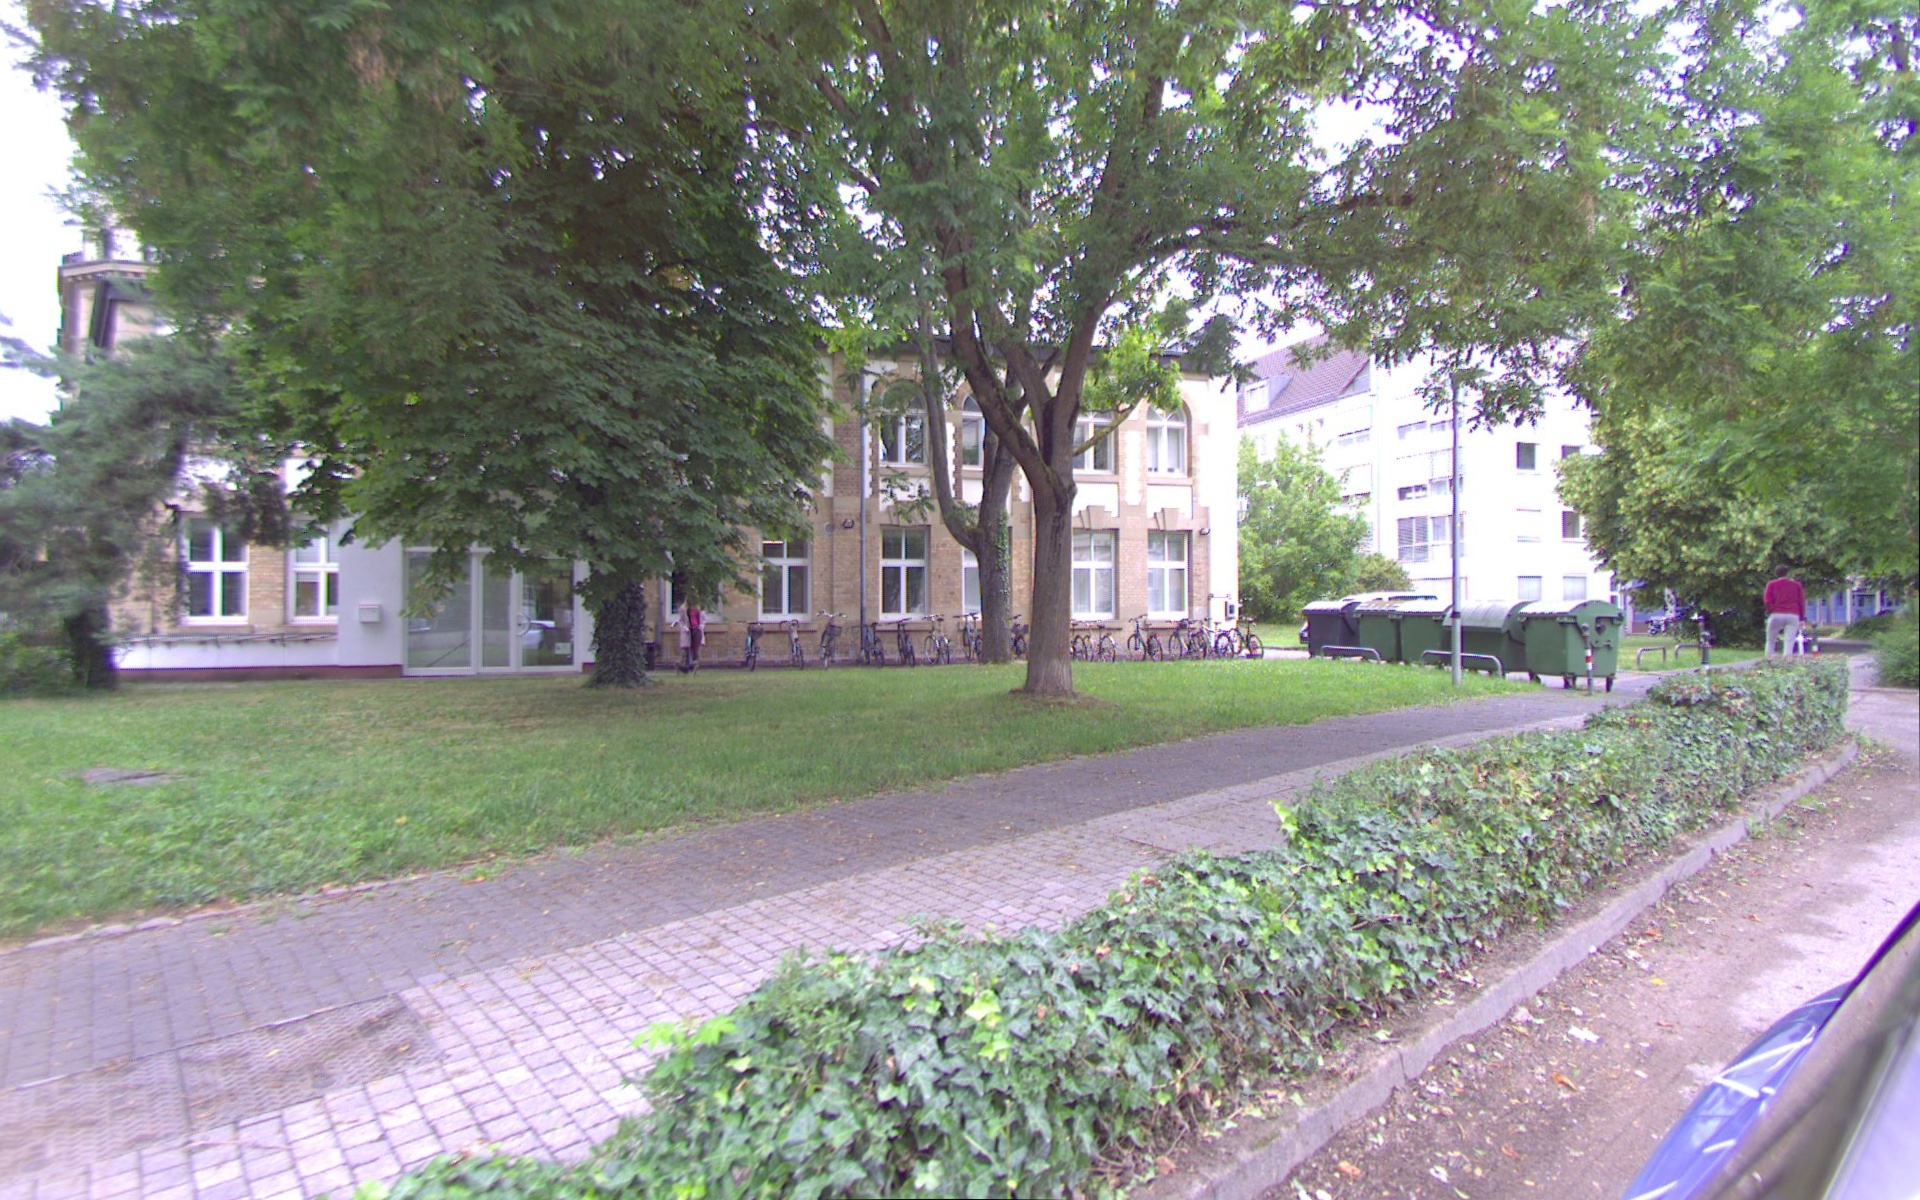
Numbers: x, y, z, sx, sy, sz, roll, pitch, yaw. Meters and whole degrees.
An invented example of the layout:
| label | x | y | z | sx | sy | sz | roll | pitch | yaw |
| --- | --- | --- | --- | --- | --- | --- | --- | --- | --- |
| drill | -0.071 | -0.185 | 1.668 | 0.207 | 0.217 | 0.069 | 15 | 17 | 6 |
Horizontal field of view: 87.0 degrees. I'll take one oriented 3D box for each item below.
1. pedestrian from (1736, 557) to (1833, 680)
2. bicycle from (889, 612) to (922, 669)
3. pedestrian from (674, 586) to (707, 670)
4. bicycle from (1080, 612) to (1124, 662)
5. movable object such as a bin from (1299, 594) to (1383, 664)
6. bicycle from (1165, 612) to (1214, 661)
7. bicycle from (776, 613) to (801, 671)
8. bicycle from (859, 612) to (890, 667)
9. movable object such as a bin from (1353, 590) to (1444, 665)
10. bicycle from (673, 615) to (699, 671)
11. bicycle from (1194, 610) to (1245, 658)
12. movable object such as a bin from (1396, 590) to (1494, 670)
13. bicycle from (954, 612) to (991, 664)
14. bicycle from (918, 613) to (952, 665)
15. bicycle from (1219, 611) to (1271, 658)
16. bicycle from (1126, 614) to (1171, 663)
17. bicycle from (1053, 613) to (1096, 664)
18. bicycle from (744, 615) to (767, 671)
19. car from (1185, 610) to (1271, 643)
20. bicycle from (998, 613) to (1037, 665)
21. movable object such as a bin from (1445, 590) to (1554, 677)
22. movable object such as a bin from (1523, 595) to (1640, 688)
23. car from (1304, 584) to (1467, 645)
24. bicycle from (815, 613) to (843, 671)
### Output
| label | x | y | z | sx | sy | sz | roll | pitch | yaw |
| --- | --- | --- | --- | --- | --- | --- | --- | --- | --- |
| pedestrian | 14.450 | 0.313 | 17.747 | 1.176 | 2.090 | 0.796 | 0 | -1 | -19 |
| bicycle | -1.231 | 0.879 | 22.675 | 0.451 | 1.128 | 1.749 | 0 | 2 | -13 |
| pedestrian | -5.260 | 0.542 | 19.775 | 0.614 | 1.607 | 0.605 | 0 | -1 | -15 |
| bicycle | 3.341 | 0.860 | 23.958 | 0.451 | 1.129 | 1.748 | 0 | -1 | -13 |
| movable object such as a bin | 8.372 | 0.623 | 22.288 | 1.085 | 1.469 | 1.365 | 0 | -1 | -20 |
| bicycle | 5.560 | 0.860 | 24.584 | 0.451 | 1.129 | 1.748 | 0 | -1 | -13 |
| bicycle | -3.745 | 0.896 | 22.043 | 0.451 | 1.128 | 1.748 | 0 | 1 | -13 |
| bicycle | -1.913 | 0.865 | 22.580 | 0.451 | 1.128 | 1.748 | 0 | 1 | -13 |
| movable object such as a bin | 9.019 | 0.552 | 20.873 | 1.086 | 1.469 | 1.329 | 0 | -1 | -22 |
| bicycle | -5.828 | 0.890 | 21.568 | 0.451 | 1.129 | 1.748 | 0 | -1 | -13 |
| bicycle | 6.328 | 0.815 | 24.779 | 0.451 | 1.129 | 1.748 | 0 | -1 | -13 |
| movable object such as a bin | 9.304 | 0.558 | 19.463 | 1.085 | 1.469 | 1.297 | 0 | -1 | -20 |
| bicycle | 0.267 | 0.845 | 23.227 | 0.451 | 1.129 | 1.748 | 0 | -1 | -13 |
| bicycle | -0.583 | 0.858 | 22.989 | 0.451 | 1.129 | 1.748 | 0 | -1 | -13 |
| bicycle | 7.042 | 0.830 | 25.078 | 0.451 | 1.129 | 1.748 | 0 | -1 | -13 |
| bicycle | 4.482 | 0.896 | 24.206 | 0.451 | 1.129 | 1.747 | 0 | -1 | -11 |
| bicycle | 2.664 | 0.884 | 23.772 | 0.451 | 1.129 | 1.748 | 0 | -1 | -13 |
| bicycle | -4.398 | 0.895 | 21.727 | 0.451 | 1.129 | 1.748 | 0 | -1 | -13 |
| car | 15.043 | 1.463 | 56.866 | 4.250 | 1.757 | 2.004 | 0 | -1 | -21 |
| bicycle | 1.310 | 0.869 | 23.337 | 0.451 | 1.129 | 1.748 | 0 | 0 | -13 |
| movable object such as a bin | 9.551 | 0.565 | 17.955 | 1.085 | 1.469 | 1.288 | 0 | -1 | -20 |
| movable object such as a bin | 10.128 | 0.648 | 16.547 | 1.050 | 1.452 | 1.276 | 0 | 0 | -5 |
| car | 14.067 | 0.496 | 33.525 | 4.673 | 1.898 | 1.904 | 0 | -3 | -13 |
| bicycle | -2.896 | 0.900 | 22.255 | 0.451 | 1.128 | 1.749 | 0 | 2 | -13 |
